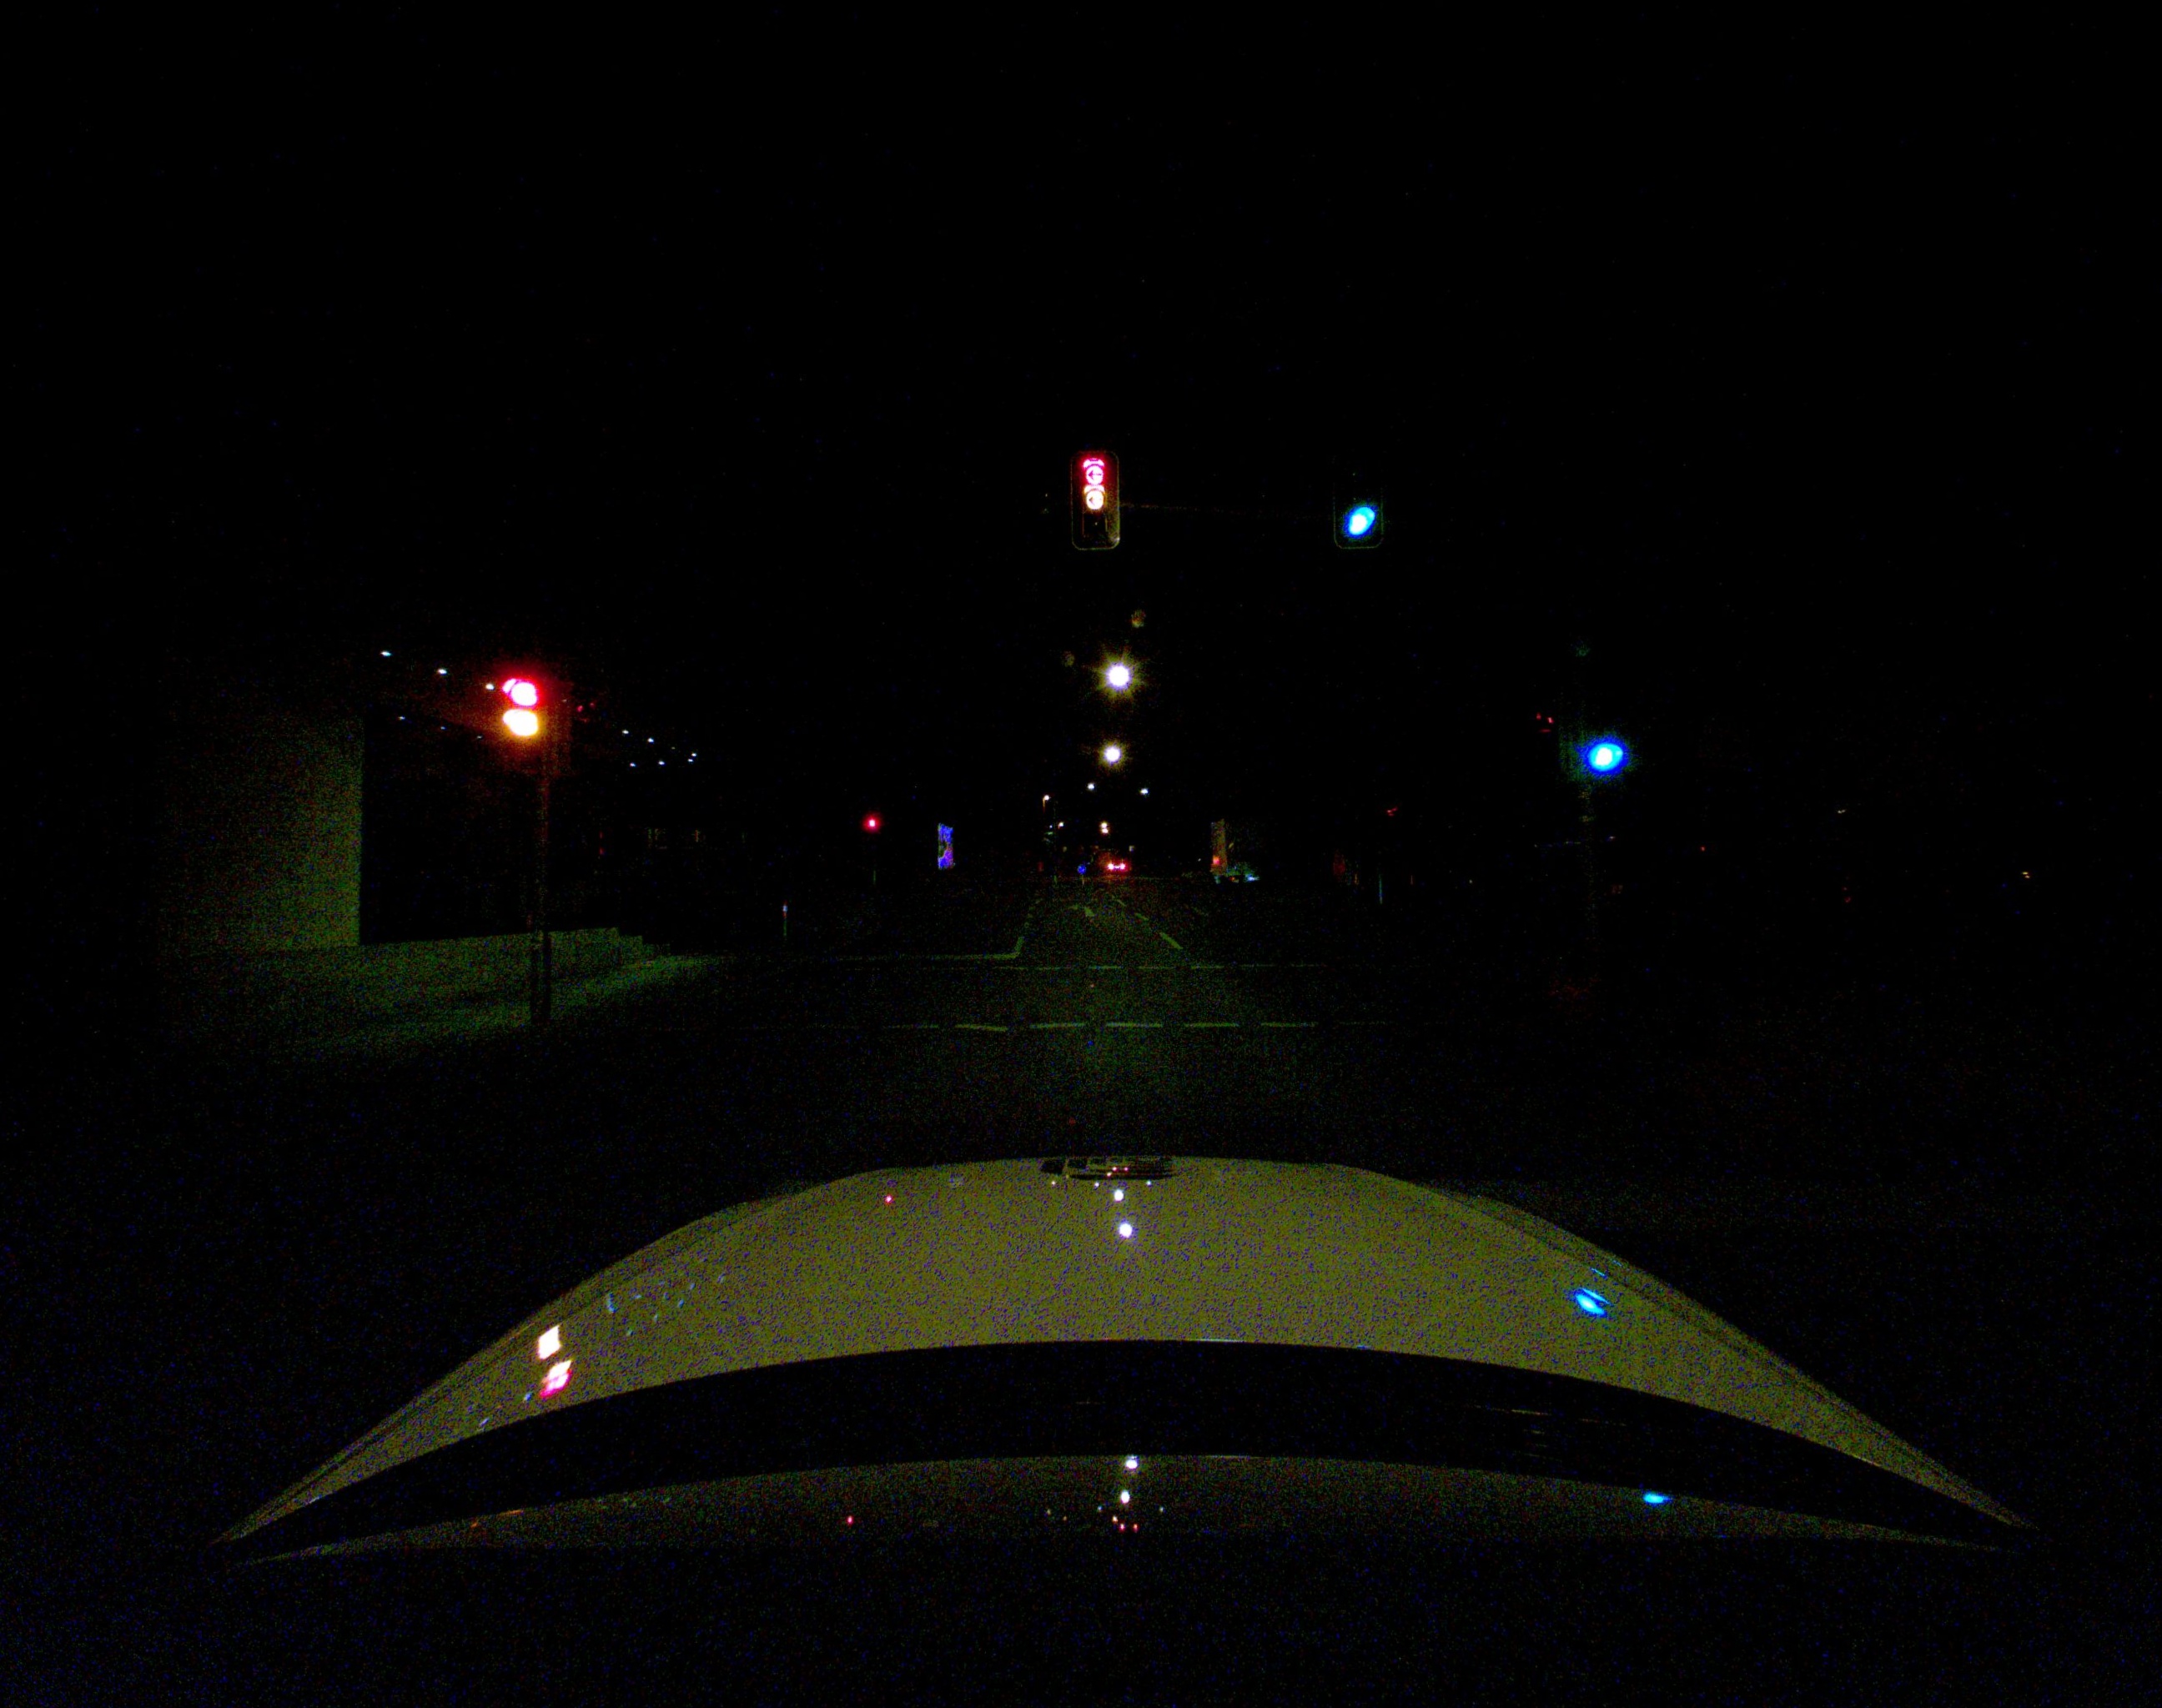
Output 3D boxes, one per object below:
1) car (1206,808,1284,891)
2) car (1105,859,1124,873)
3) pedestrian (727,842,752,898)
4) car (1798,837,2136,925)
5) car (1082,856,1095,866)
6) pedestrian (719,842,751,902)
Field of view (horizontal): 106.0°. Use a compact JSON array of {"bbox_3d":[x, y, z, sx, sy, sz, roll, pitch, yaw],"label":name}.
[{"bbox_3d":[6.760,-0.148,34.217,2.287,3.093,5.845,-2,-1,3],"label":"car"},{"bbox_3d":[3.821,1.377,93.297,1.772,1.486,3.994,0,-1,-4],"label":"car"},{"bbox_3d":[-10.760,0.509,25.664,0.568,1.731,0.544,0,-1,1],"label":"pedestrian"},{"bbox_3d":[17.456,0.565,16.283,4.342,1.560,1.807,-2,-3,8],"label":"car"},{"bbox_3d":[1.252,1.167,134.541,1.901,1.557,3.906,0,-1,2],"label":"car"},{"bbox_3d":[-10.365,0.532,24.421,0.568,1.778,0.737,1,-1,1],"label":"pedestrian"}]
